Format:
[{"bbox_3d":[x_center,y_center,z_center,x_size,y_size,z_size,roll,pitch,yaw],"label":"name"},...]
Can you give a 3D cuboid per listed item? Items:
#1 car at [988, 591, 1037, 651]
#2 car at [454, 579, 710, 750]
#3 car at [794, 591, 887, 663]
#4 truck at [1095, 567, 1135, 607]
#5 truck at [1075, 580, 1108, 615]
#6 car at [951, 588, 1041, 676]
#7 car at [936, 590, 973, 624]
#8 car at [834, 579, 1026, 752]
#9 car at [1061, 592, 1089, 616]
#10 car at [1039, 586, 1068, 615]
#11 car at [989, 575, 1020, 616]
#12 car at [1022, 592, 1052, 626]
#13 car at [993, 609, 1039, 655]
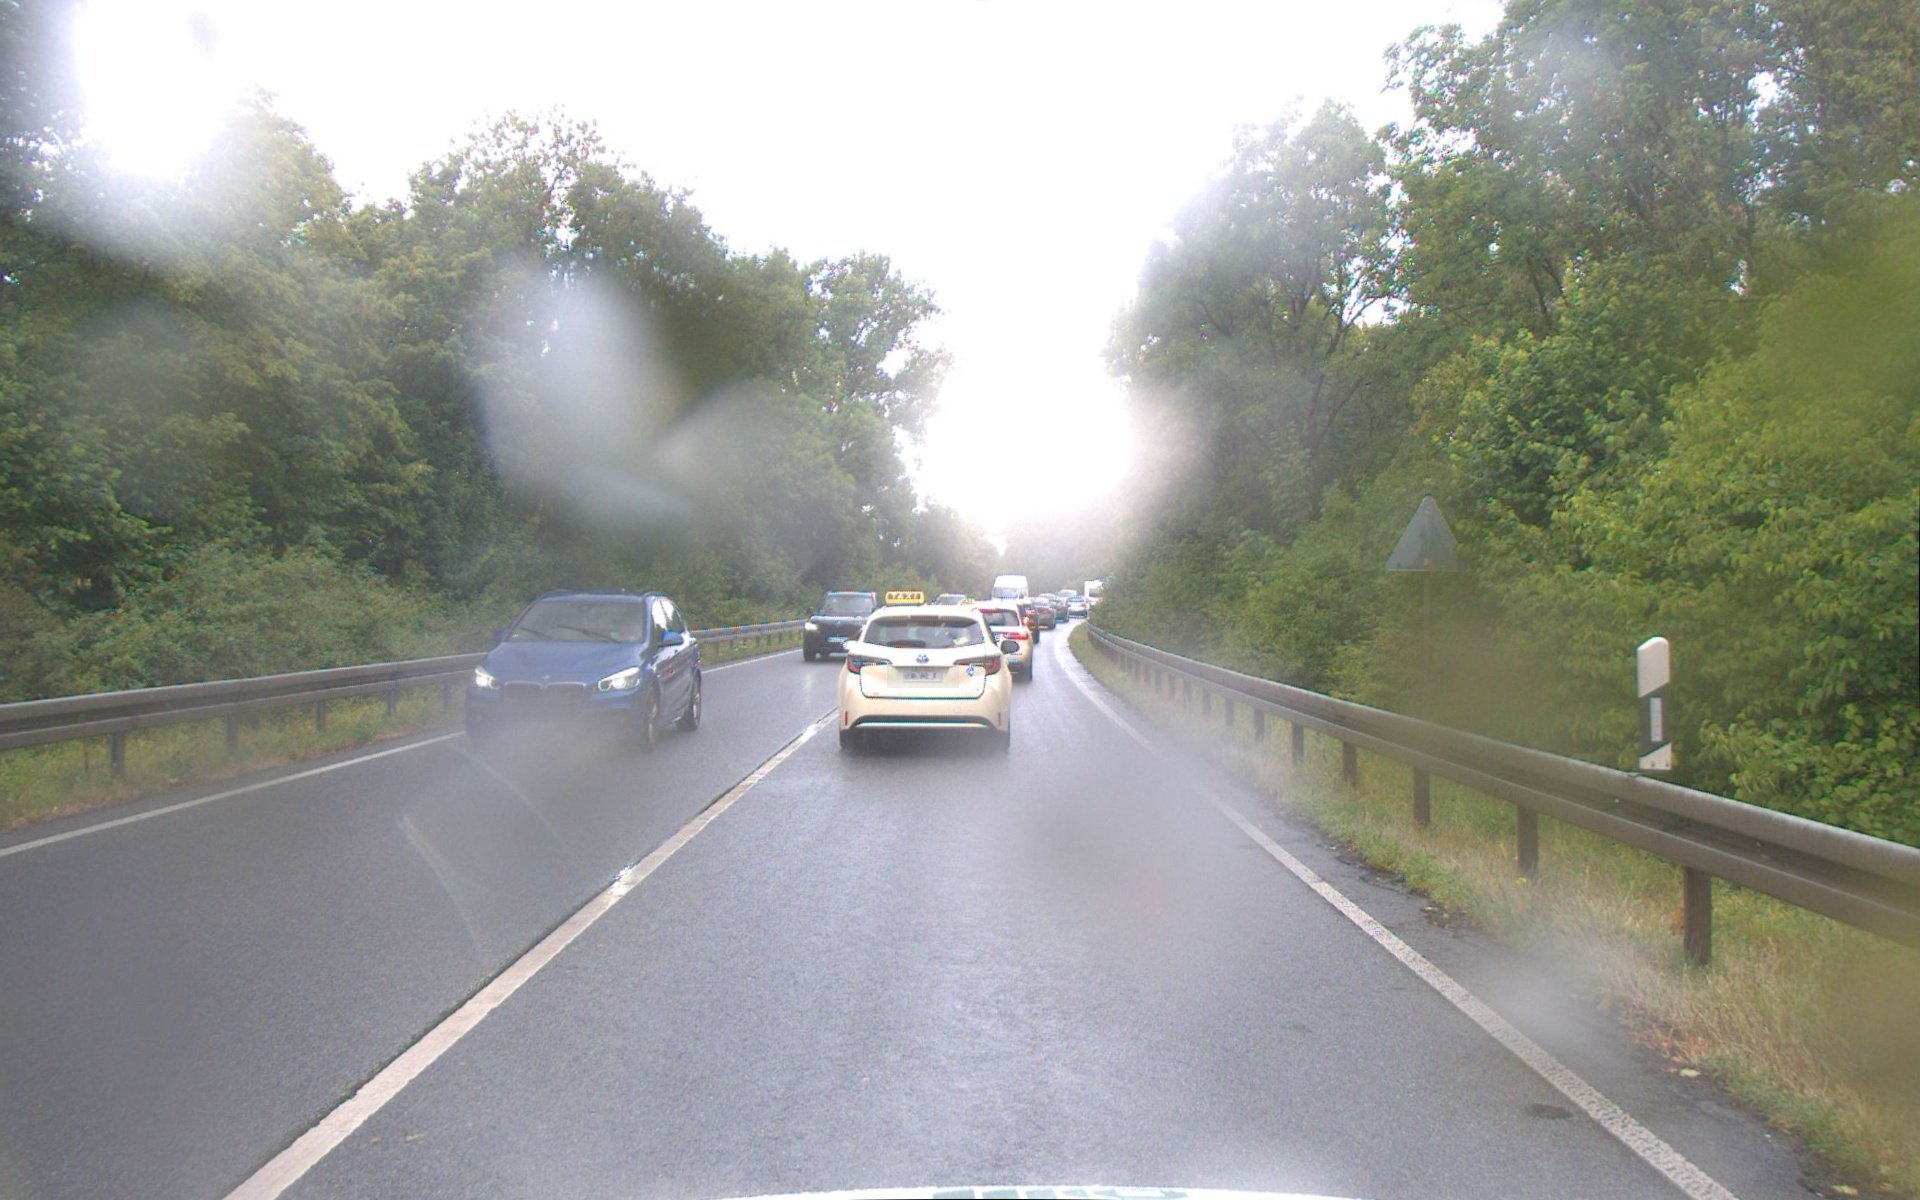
[{"bbox_3d":[1.421,0.577,45.400,1.274,1.574,3.260,1,-1,1],"label":"car"},{"bbox_3d":[-3.769,0.616,17.166,1.672,1.542,3.913,1,-1,1],"label":"car"},{"bbox_3d":[-2.925,0.631,41.221,1.808,1.672,4.299,1,0,2],"label":"car"},{"bbox_3d":[15.386,-1.258,163.597,3.041,3.745,7.005,1,-1,13],"label":"truck"},{"bbox_3d":[11.017,-0.157,138.921,2.496,2.760,7.537,1,-1,3],"label":"truck"},{"bbox_3d":[0.703,0.614,32.543,1.633,1.608,3.892,1,-1,1],"label":"car"},{"bbox_3d":[-0.245,0.338,80.173,1.656,1.583,4.443,1,0,1],"label":"car"},{"bbox_3d":[-0.276,0.640,17.790,1.796,1.608,4.156,1,-1,0],"label":"car"},{"bbox_3d":[8.111,0.296,116.607,1.732,1.574,3.817,1,-1,8],"label":"car"},{"bbox_3d":[5.505,0.045,97.075,1.582,1.641,3.623,1,-1,4],"label":"car"},{"bbox_3d":[3.084,-0.243,113.789,2.005,2.723,6.173,0,-1,2],"label":"car"},{"bbox_3d":[3.672,0.431,78.603,1.142,1.574,2.606,1,-1,8],"label":"car"},{"bbox_3d":[1.964,1.118,58.678,1.578,1.574,3.814,0,-1,1],"label":"car"}]
